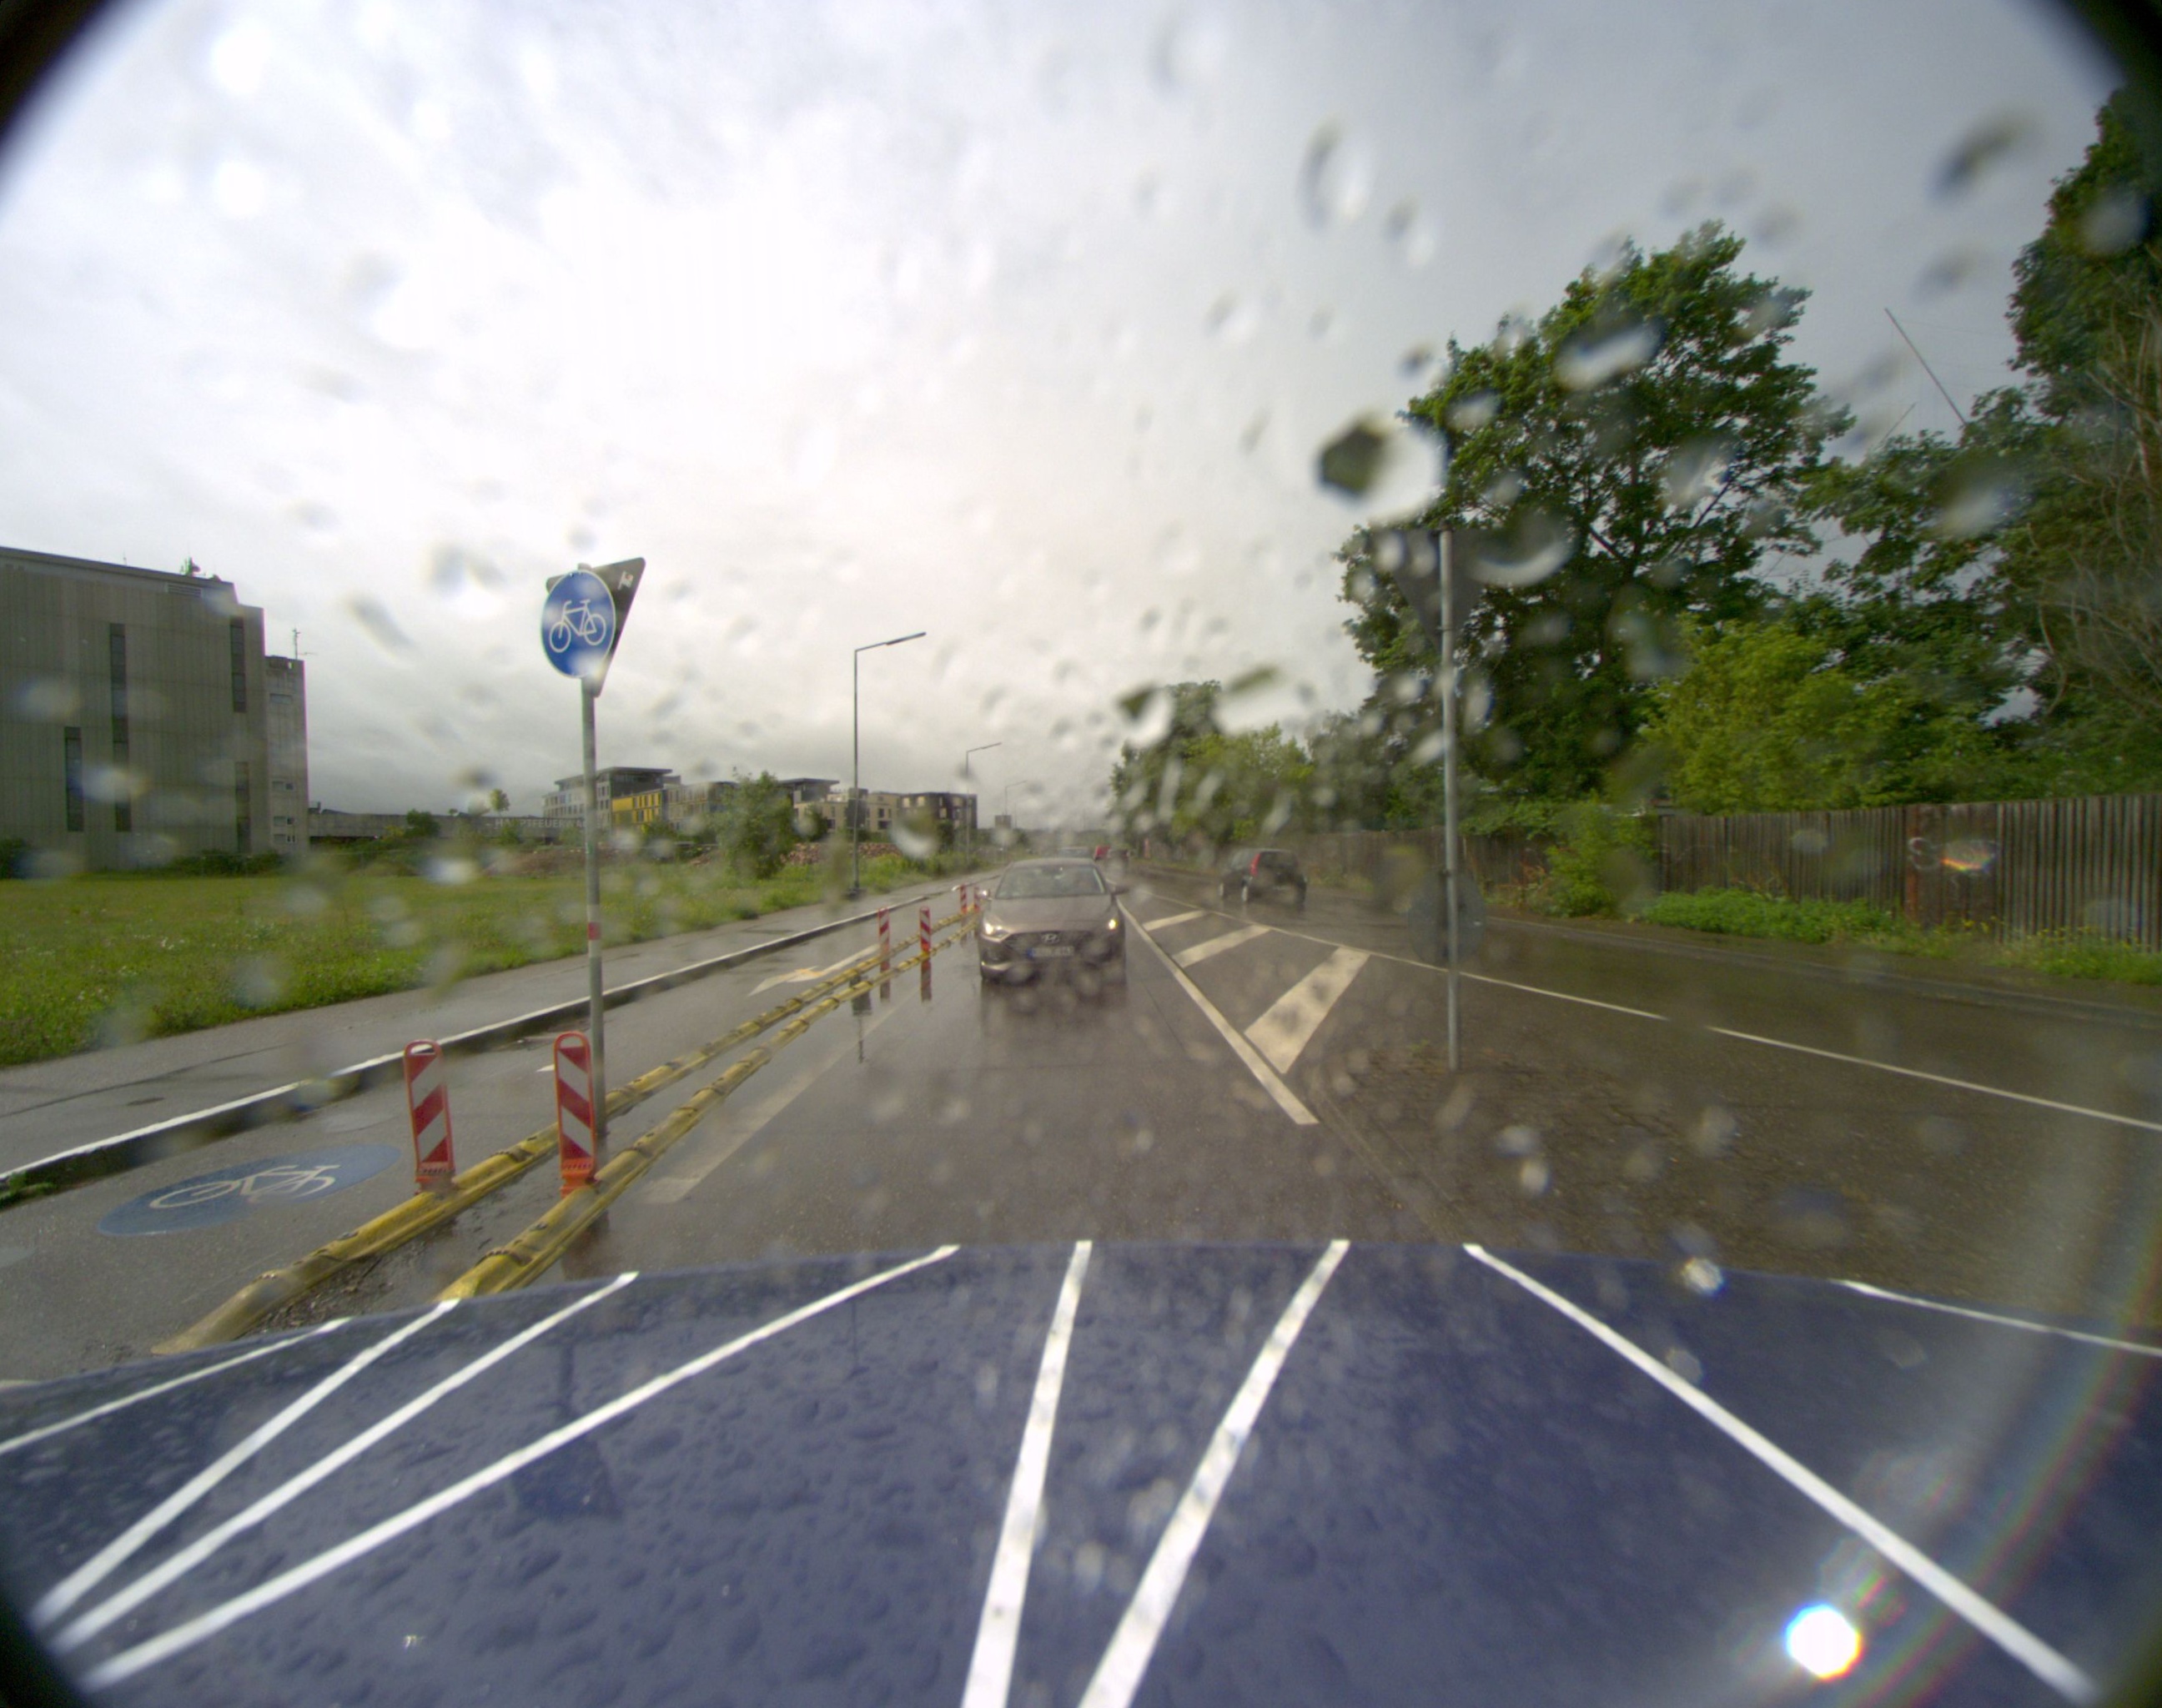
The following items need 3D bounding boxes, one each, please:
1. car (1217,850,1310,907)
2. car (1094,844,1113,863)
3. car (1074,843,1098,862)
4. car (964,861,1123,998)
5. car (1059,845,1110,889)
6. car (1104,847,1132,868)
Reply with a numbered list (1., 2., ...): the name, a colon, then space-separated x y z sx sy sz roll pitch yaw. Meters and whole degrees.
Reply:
1. car: 5.243 0.667 22.232 1.633 1.524 3.456 1 0 -5
2. car: 2.653 -0.077 91.408 1.999 2.321 3.998 0 0 -3
3. car: 0.465 -0.132 69.324 1.875 1.653 4.482 -3 0 -3
4. car: -0.339 0.859 10.515 1.734 1.405 4.128 -2 1 2
5. car: 0.214 0.498 31.971 1.874 1.653 4.484 -1 0 3
6. car: 3.040 0.263 63.772 1.855 1.699 3.998 0 1 -5
